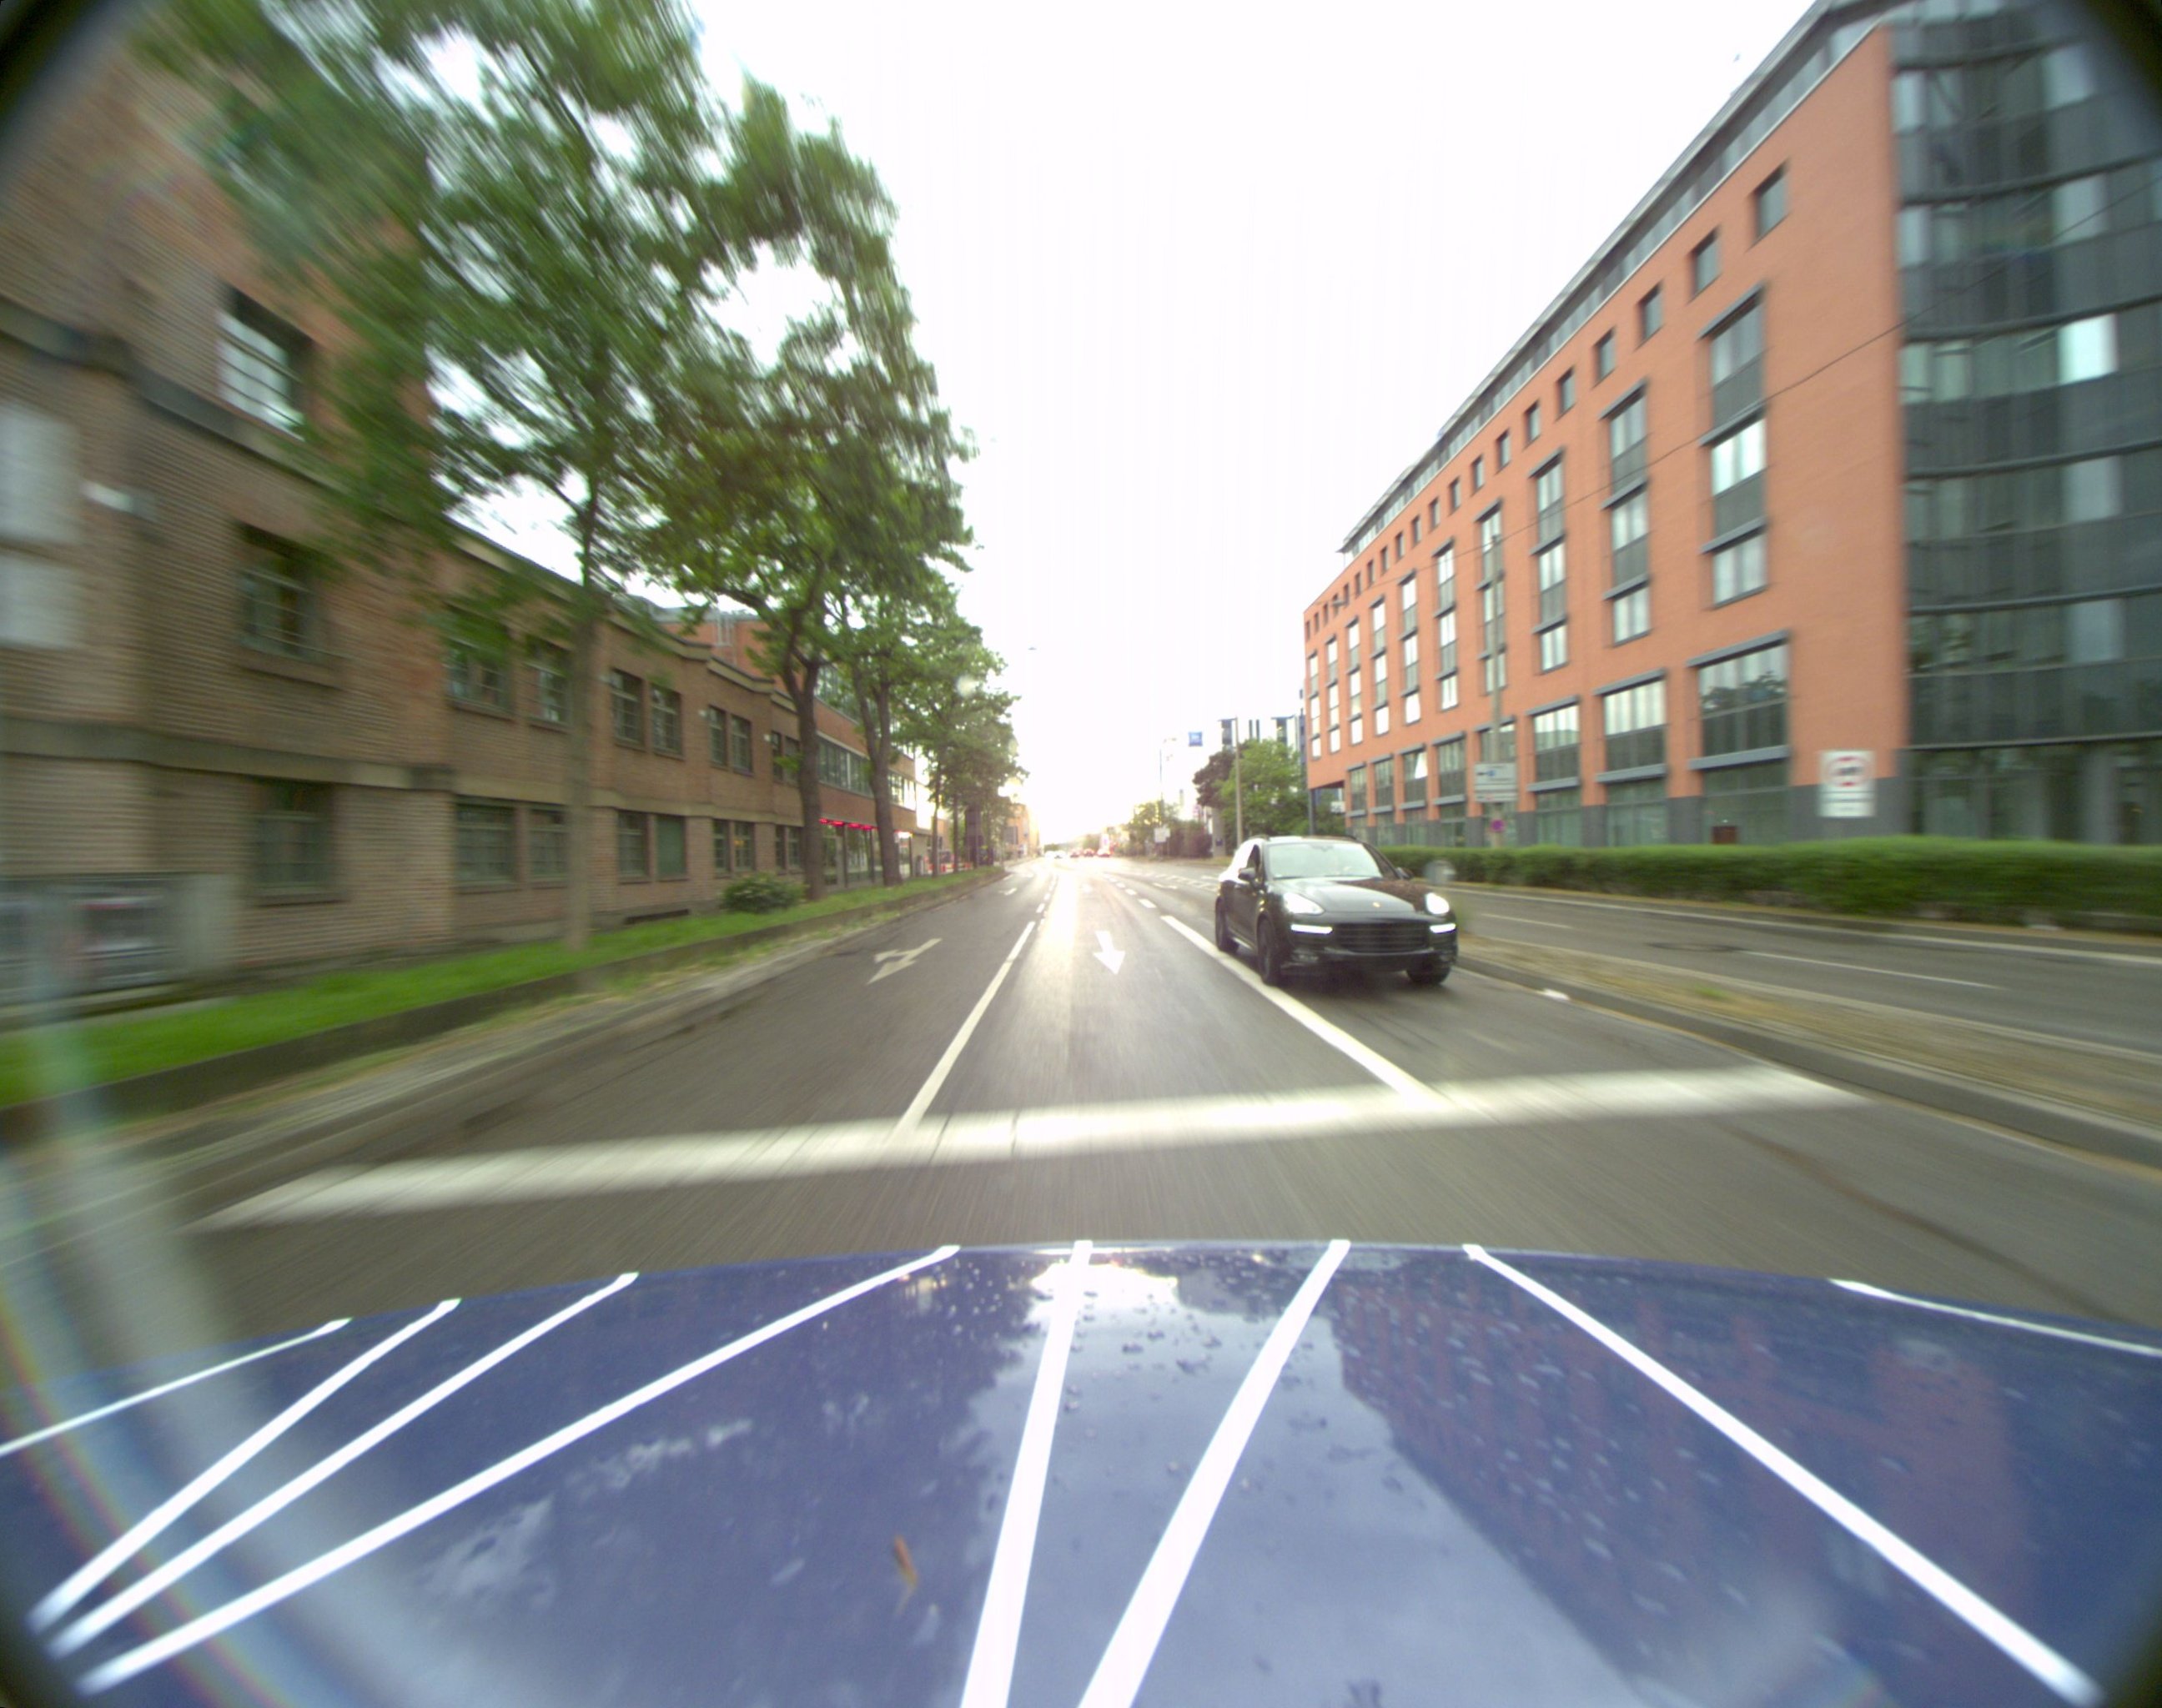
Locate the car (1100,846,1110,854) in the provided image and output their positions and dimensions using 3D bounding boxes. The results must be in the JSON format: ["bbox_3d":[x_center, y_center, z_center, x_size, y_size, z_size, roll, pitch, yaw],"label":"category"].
[{"bbox_3d":[4.918,-0.897,155.492,1.767,1.559,3.998,0,1,-3],"label":"car"}]

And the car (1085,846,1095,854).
[{"bbox_3d":[1.927,-0.908,162.695,1.999,1.543,3.999,-2,1,-1],"label":"car"}]

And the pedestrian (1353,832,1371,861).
[{"bbox_3d":[18.254,-0.474,49.356,0.747,1.830,0.885,-3,1,-1],"label":"pedestrian"}]

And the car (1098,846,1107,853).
[{"bbox_3d":[4.893,-1.066,170.925,1.767,1.559,3.998,0,1,-2],"label":"car"}]

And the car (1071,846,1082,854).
[{"bbox_3d":[-0.924,-0.751,155.002,1.999,1.543,3.999,-2,1,-1],"label":"car"}]

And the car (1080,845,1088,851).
[{"bbox_3d":[0.869,-1.709,206.082,1.999,1.543,3.999,-2,1,-1],"label":"car"}]

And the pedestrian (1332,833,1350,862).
[{"bbox_3d":[17.009,-0.431,49.740,0.747,1.830,0.885,-3,1,-1],"label":"pedestrian"}]

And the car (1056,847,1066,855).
[{"bbox_3d":[-3.921,-0.494,147.900,1.799,1.501,4.000,-1,0,-1],"label":"car"}]

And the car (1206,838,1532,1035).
[{"bbox_3d":[2.923,0.693,9.246,1.998,1.656,5.424,-2,0,1],"label":"car"}]
